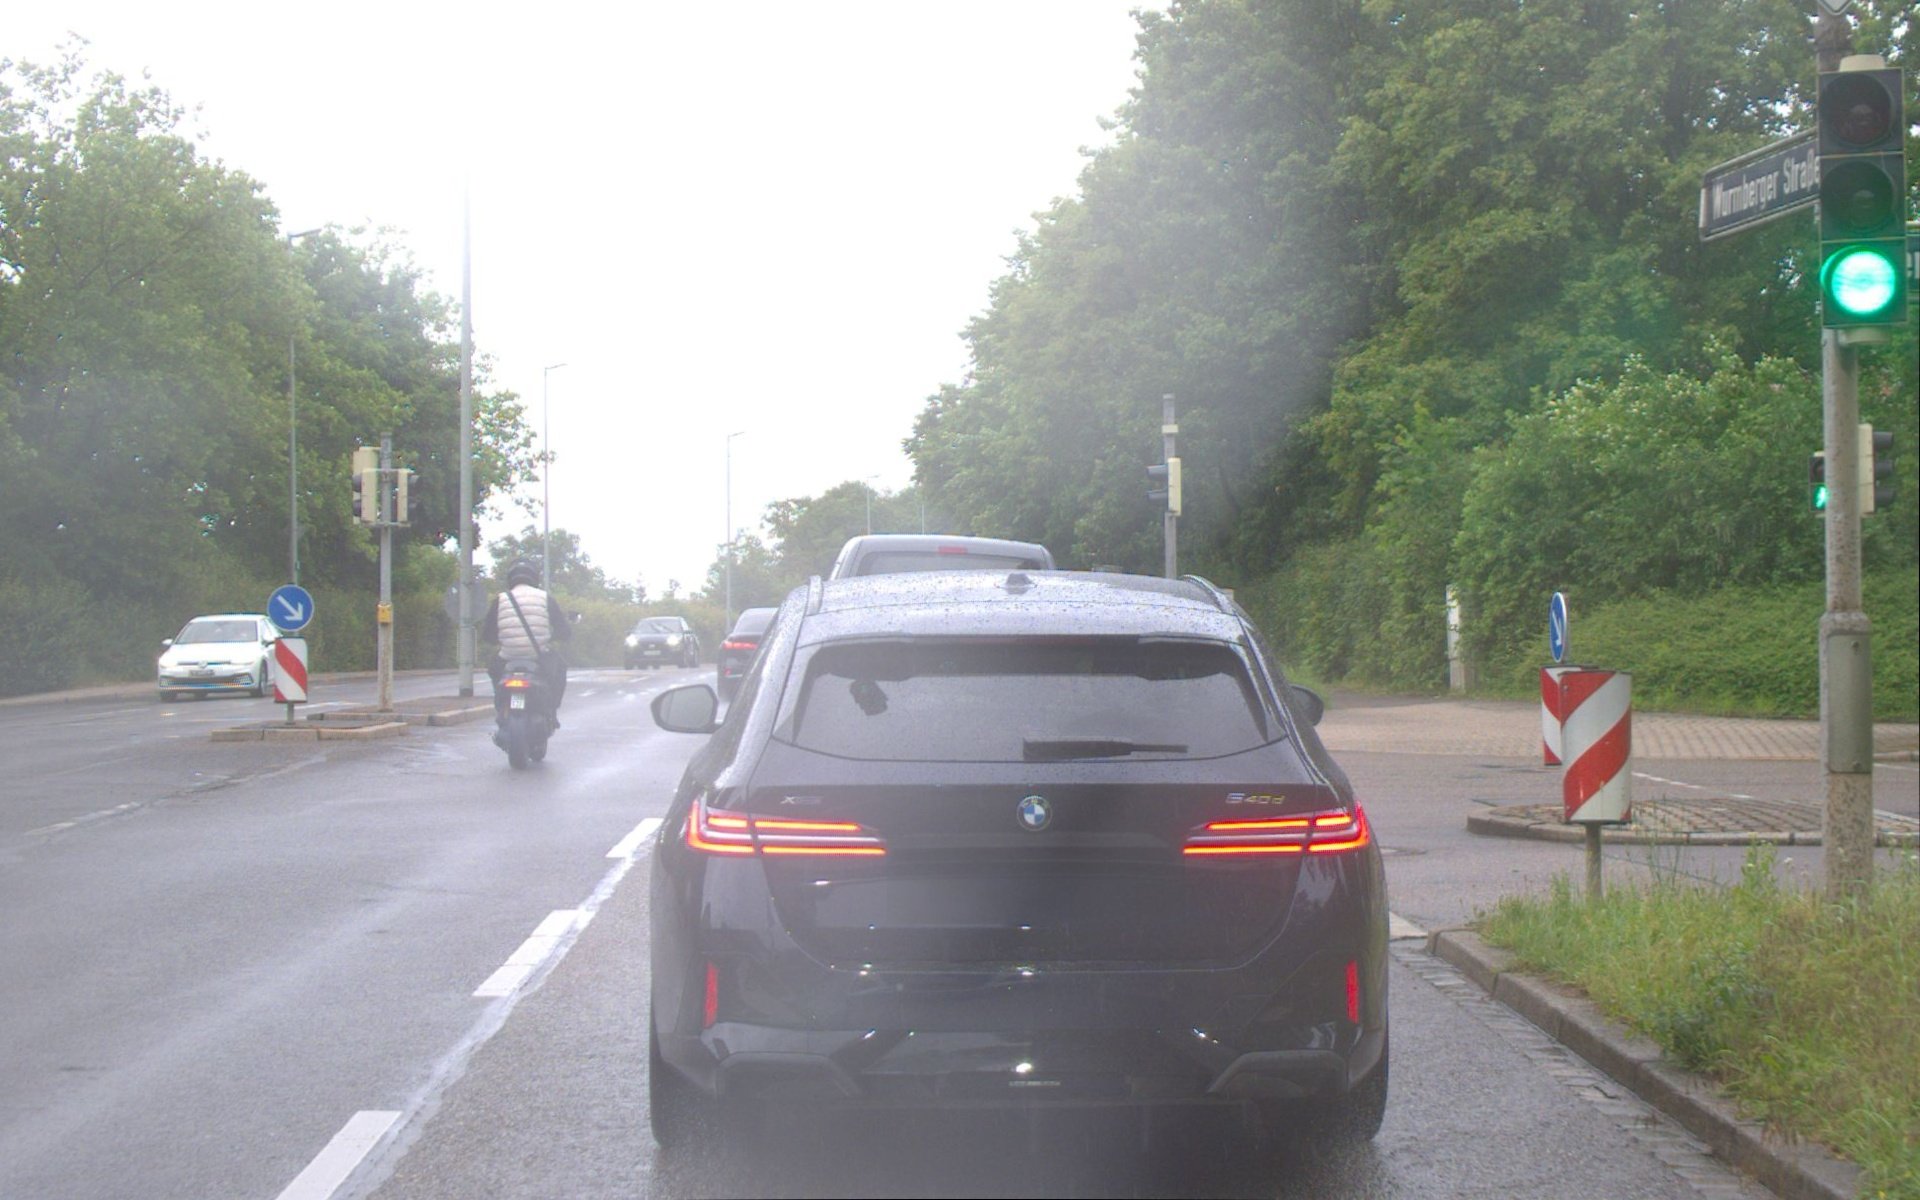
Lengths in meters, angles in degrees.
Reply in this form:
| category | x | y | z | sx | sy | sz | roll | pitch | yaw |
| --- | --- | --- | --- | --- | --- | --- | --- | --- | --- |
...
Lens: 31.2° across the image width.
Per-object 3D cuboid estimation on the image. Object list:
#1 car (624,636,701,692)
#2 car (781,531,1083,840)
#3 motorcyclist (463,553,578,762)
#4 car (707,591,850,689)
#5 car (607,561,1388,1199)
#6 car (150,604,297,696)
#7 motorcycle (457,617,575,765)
| category | x | y | z | sx | sy | sz | roll | pitch | yaw |
| --- | --- | --- | --- | --- | --- | --- | --- | --- | --- |
| car | -8.820 | 1.885 | 102.182 | 2.025 | 1.558 | 3.877 | -1 | 0 | -1 |
| car | -0.179 | 0.485 | 22.302 | 1.767 | 1.804 | 3.905 | 1 | 1 | 0 |
| motorcyclist | -3.484 | 0.449 | 27.278 | 0.845 | 1.641 | 0.468 | 0 | 0 | 0 |
| car | -2.807 | 0.595 | 53.986 | 2.015 | 1.410 | 4.486 | 1 | 1 | 0 |
| car | 0.074 | 0.669 | 9.692 | 1.764 | 1.531 | 3.673 | 1 | 1 | 0 |
| car | -12.869 | 0.841 | 60.267 | 1.727 | 1.480 | 4.157 | -2 | 0 | -1 |
| motorcycle | -3.508 | 0.705 | 27.244 | 0.741 | 1.116 | 1.426 | 1 | 0 | 0 |
